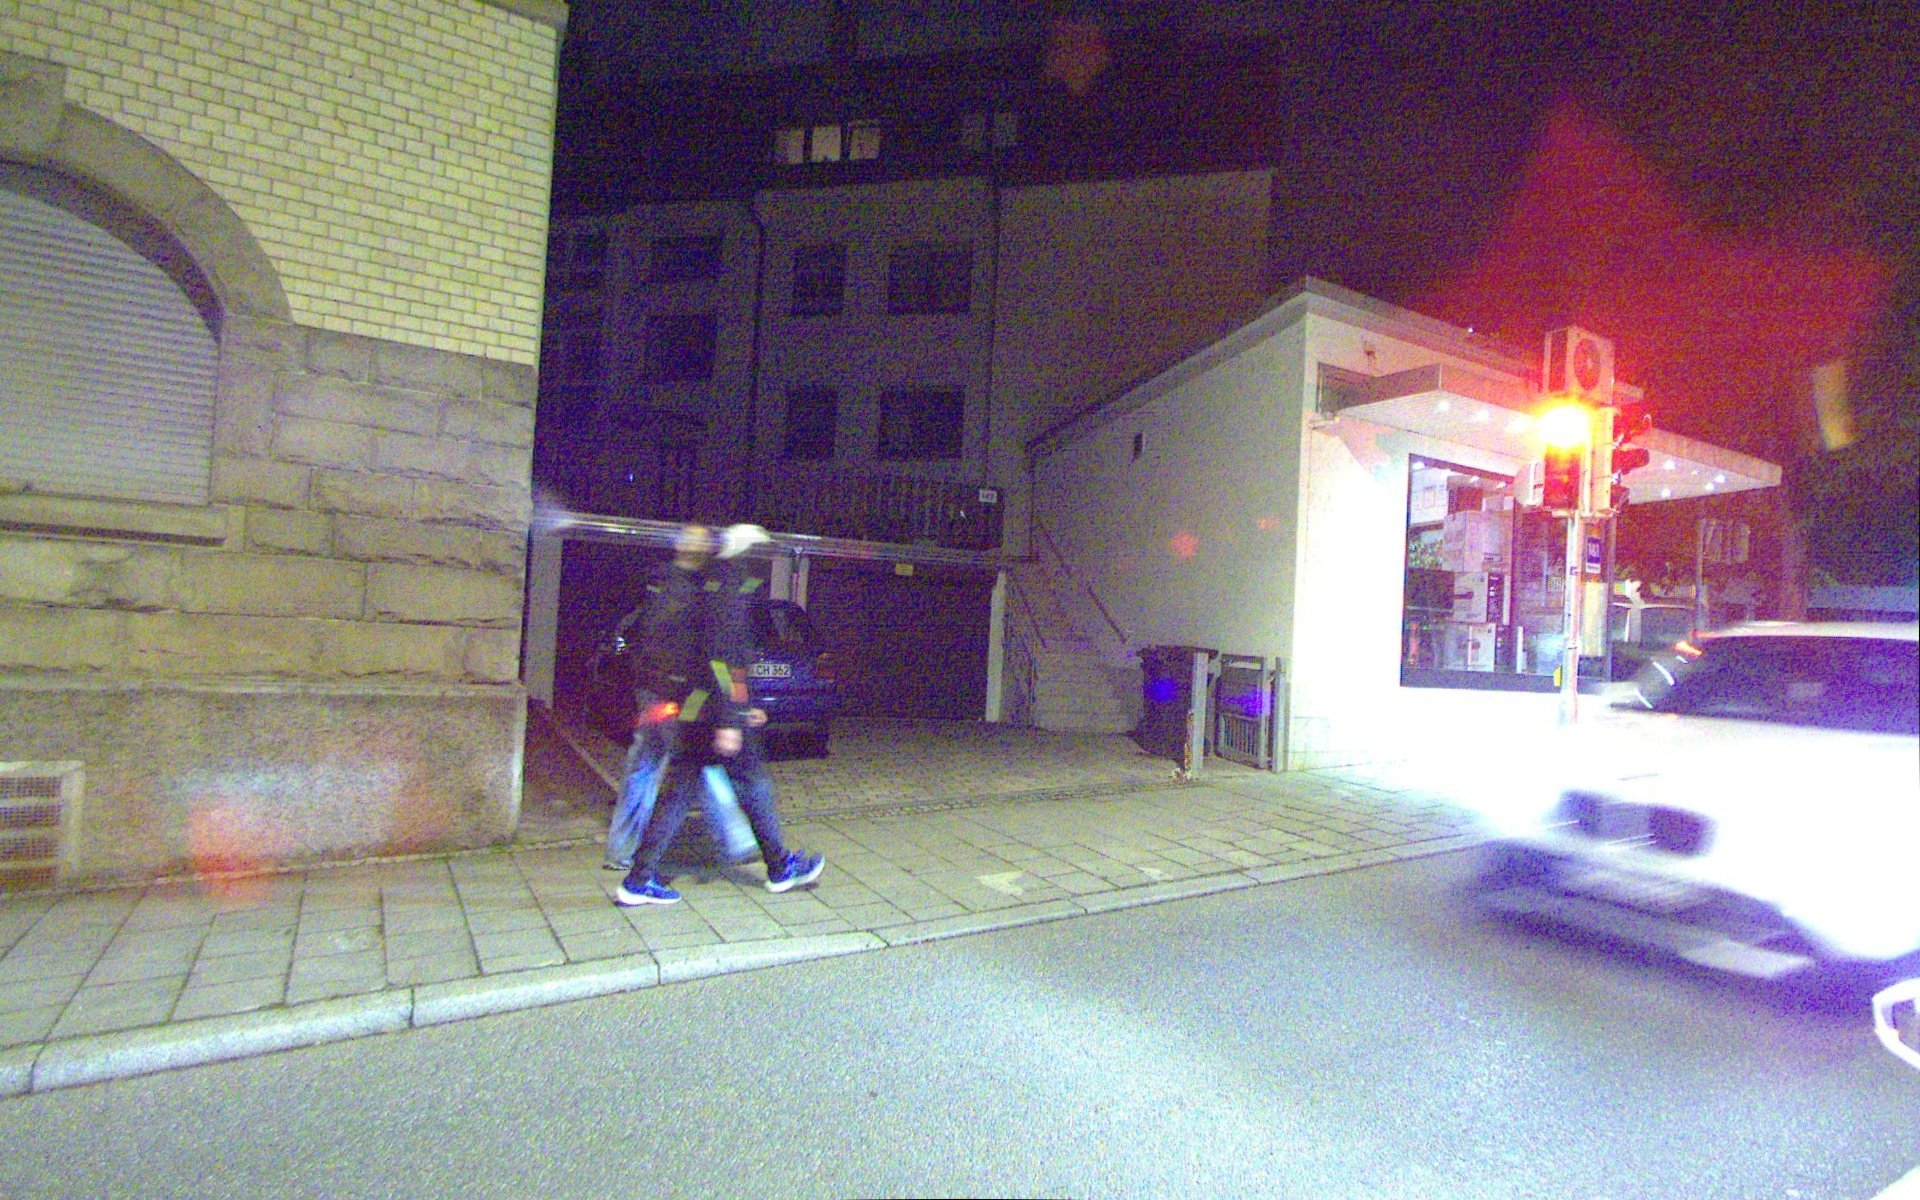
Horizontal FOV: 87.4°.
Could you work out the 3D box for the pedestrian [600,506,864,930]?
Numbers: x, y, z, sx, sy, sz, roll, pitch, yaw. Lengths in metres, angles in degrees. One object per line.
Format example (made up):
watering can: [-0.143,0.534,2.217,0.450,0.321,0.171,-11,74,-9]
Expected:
pedestrian: [-1.076,0.504,4.737,1.017,1.768,0.672,2,0,-31]

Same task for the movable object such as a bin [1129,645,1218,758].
movable object such as a bin: [2.121,1.000,10.029,0.643,1.063,0.639,2,0,-12]

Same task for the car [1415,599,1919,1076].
car: [4.411,0.829,5.142,3.981,1.554,1.848,1,0,-31]

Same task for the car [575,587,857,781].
car: [-2.448,0.652,9.500,1.655,1.470,3.341,2,-1,-31]

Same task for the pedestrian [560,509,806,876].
pedestrian: [-1.503,0.461,5.440,1.091,1.768,0.738,2,0,-31]
